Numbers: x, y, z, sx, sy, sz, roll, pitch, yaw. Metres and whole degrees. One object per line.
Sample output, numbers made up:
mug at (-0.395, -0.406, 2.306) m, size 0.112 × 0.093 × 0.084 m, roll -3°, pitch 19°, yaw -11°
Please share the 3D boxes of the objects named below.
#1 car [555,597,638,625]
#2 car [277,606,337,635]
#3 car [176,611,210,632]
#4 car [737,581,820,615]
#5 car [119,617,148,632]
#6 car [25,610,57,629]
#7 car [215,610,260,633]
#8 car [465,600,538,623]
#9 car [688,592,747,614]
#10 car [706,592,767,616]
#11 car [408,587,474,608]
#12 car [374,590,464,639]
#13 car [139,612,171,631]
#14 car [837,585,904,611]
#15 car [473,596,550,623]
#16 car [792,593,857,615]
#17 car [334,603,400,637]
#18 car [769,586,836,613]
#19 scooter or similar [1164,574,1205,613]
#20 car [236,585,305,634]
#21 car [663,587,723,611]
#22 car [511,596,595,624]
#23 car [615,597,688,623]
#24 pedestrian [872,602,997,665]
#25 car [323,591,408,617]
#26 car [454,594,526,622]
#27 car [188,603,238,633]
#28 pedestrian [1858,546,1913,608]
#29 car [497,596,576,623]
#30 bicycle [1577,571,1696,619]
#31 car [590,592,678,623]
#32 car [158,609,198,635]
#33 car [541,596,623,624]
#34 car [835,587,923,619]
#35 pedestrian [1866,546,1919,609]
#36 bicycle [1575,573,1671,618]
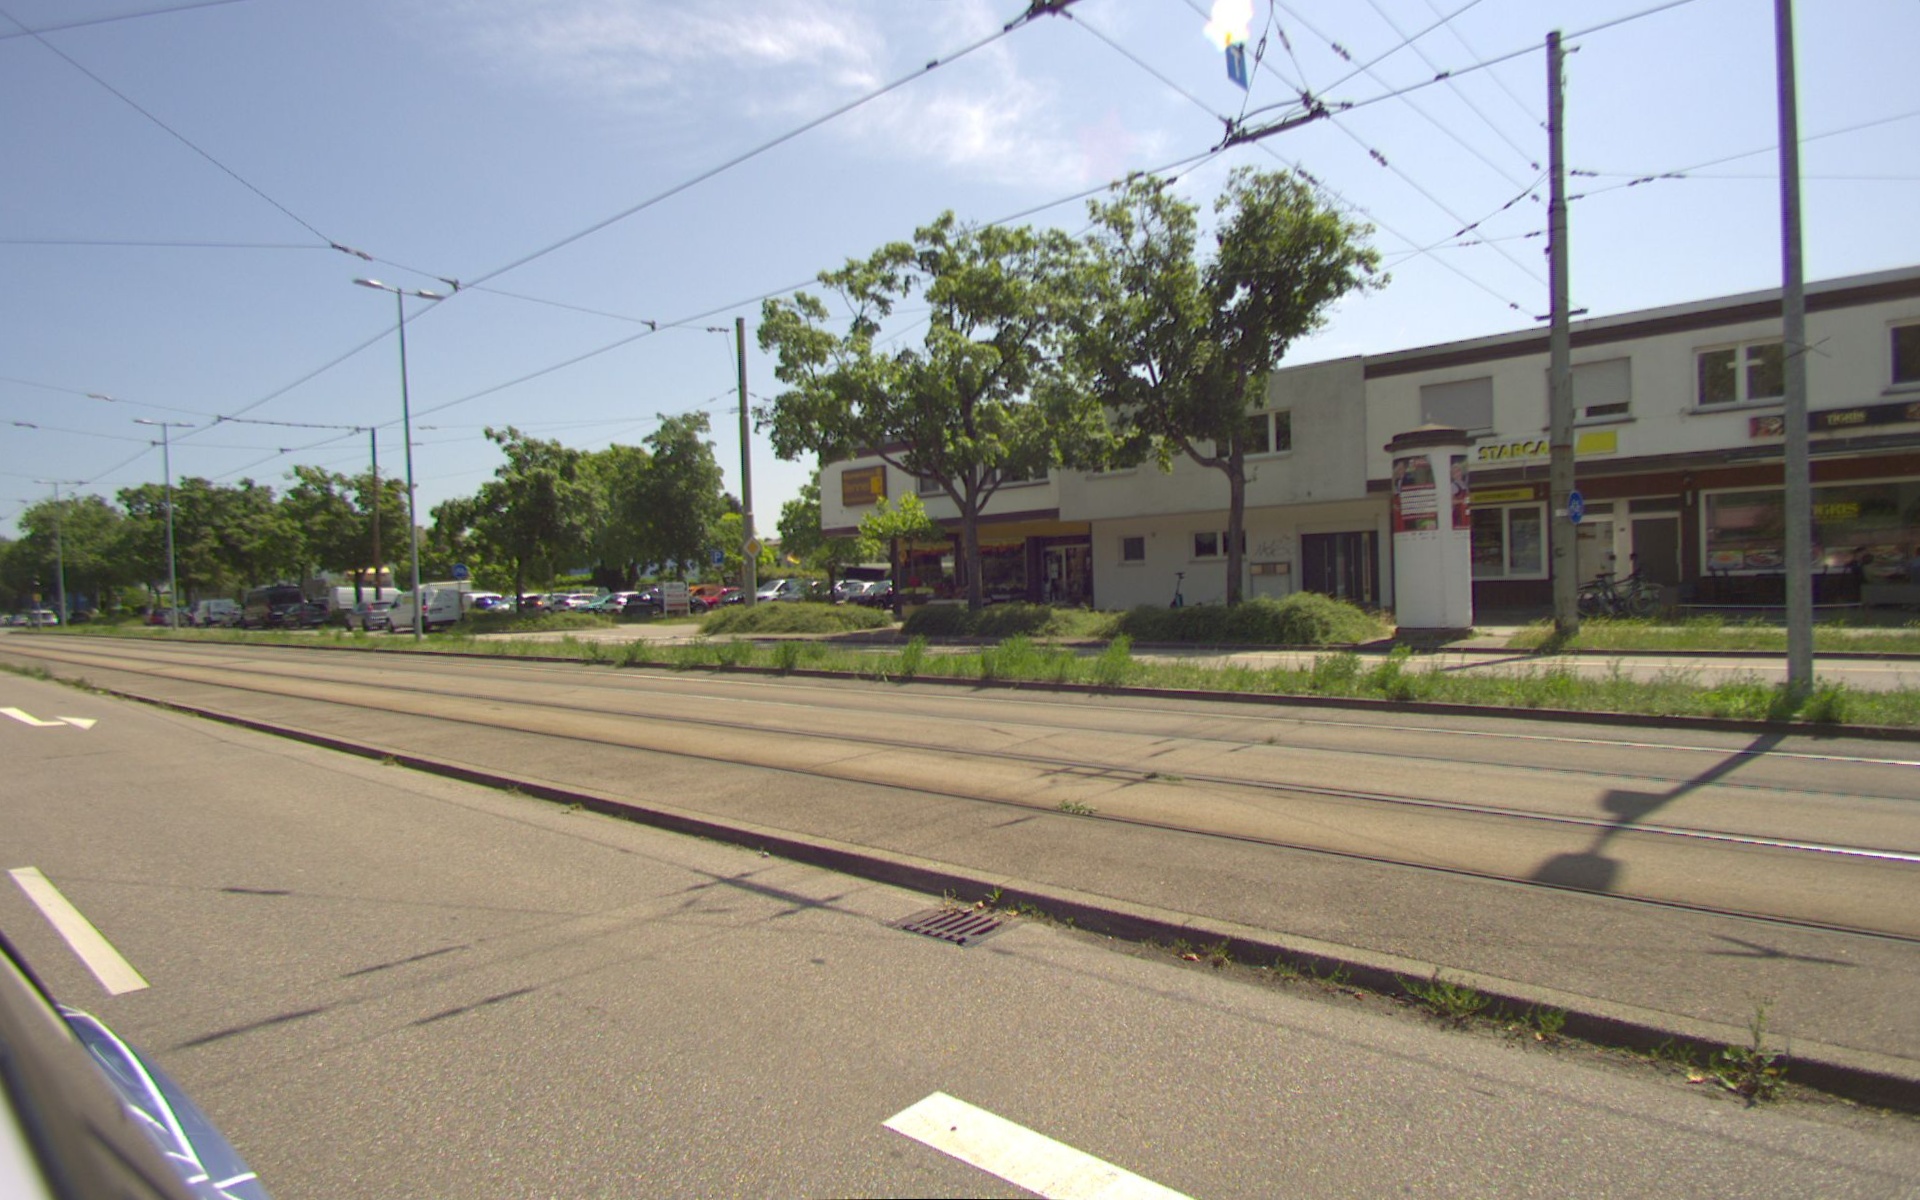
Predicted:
car at (-20.155, 0.580, 56.194) m, size 1.908 × 1.501 × 3.995 m, roll 0°, pitch 0°, yaw 34°
car at (-37.295, 1.131, 57.744) m, size 3.751 × 1.589 × 1.950 m, roll 0°, pitch 0°, yaw 42°
car at (-56.700, 1.539, 74.803) m, size 3.261 × 1.489 × 1.411 m, roll 0°, pitch 0°, yaw 41°
car at (-11.777, -0.151, 65.893) m, size 2.225 × 2.085 × 5.055 m, roll 0°, pitch 0°, yaw 41°
car at (-73.897, 2.179, 90.421) m, size 3.423 × 1.167 × 1.561 m, roll 0°, pitch 0°, yaw 43°
car at (-84.310, 1.778, 92.834) m, size 4.569 × 1.622 × 1.705 m, roll 0°, pitch 0°, yaw 42°
car at (-48.059, 1.390, 67.326) m, size 3.608 × 1.475 × 1.744 m, roll 0°, pitch 0°, yaw 42°
car at (-29.501, 0.714, 65.198) m, size 1.794 × 1.417 × 3.950 m, roll -1°, pitch 0°, yaw 37°
car at (-17.095, 0.207, 71.575) m, size 1.712 × 1.505 × 3.953 m, roll 0°, pitch 0°, yaw 35°
car at (-15.316, 0.258, 69.529) m, size 1.683 × 1.597 × 3.948 m, roll 0°, pitch 0°, yaw 39°
car at (-52.670, -0.252, 102.809) m, size 2.145 × 2.078 × 5.674 m, roll 0°, pitch 0°, yaw 38°
car at (-25.233, 0.681, 47.114) m, size 5.342 × 2.025 × 1.856 m, roll -1°, pitch 4°, yaw 42°
car at (-65.261, 1.709, 82.025) m, size 3.423 × 1.491 × 1.561 m, roll 0°, pitch 0°, yaw 43°
car at (-5.374, -0.129, 61.108) m, size 1.661 × 1.531 × 3.943 m, roll 0°, pitch 0°, yaw 43°
car at (-27.823, 0.595, 62.906) m, size 1.862 × 1.499 × 3.955 m, roll -1°, pitch 1°, yaw 34°
car at (-8.273, 0.217, 62.091) m, size 1.764 × 1.294 × 3.675 m, roll 0°, pitch 0°, yaw 43°
car at (-30.116, 0.998, 51.356) m, size 4.124 × 1.513 × 1.633 m, roll -1°, pitch 4°, yaw 42°
car at (-9.997, -0.035, 64.244) m, size 1.804 × 1.669 × 3.943 m, roll 0°, pitch 0°, yaw 43°
scooter or similar at (6.957, -0.203, 31.409) m, size 0.448 × 1.200 × 1.349 m, roll -1°, pitch 0°, yaw -29°
car at (-42.169, 0.538, 61.848) m, size 5.666 × 2.859 × 2.214 m, roll 0°, pitch 0°, yaw 42°
car at (-19.141, -0.093, 72.692) m, size 1.689 × 1.665 × 4.082 m, roll -1°, pitch 0°, yaw 35°
car at (-23.837, 0.557, 59.377) m, size 2.018 × 1.501 × 4.117 m, roll -1°, pitch 1°, yaw 34°
car at (-16.090, 0.524, 52.872) m, size 1.639 × 1.241 × 3.385 m, roll -1°, pitch 1°, yaw 34°
pedestrian at (-0.913, 1.086, 34.829) m, size 3.997 × 2.029 × 1.973 m, roll 0°, pitch 0°, yaw 40°
car at (-46.368, 0.285, 79.006) m, size 2.029 × 1.970 × 5.363 m, roll 0°, pitch 0°, yaw 42°
car at (-31.231, 0.517, 67.274) m, size 1.794 × 1.730 × 3.951 m, roll -1°, pitch 1°, yaw 37°
car at (-52.510, 1.239, 71.125) m, size 4.816 × 1.963 × 1.899 m, roll 0°, pitch 0°, yaw 42°
pedestrian at (19.669, -0.474, 21.525) m, size 0.842 × 1.278 × 0.583 m, roll 0°, pitch 0°, yaw 41°
car at (-25.710, 0.572, 61.547) m, size 1.827 × 1.501 × 4.030 m, roll -1°, pitch 1°, yaw 34°
bicycle at (14.239, -0.098, 21.353) m, size 2.028 × 0.986 × 0.604 m, roll 0°, pitch 0°, yaw 41°
car at (-17.661, 0.407, 54.999) m, size 1.983 × 1.501 × 4.120 m, roll -1°, pitch 1°, yaw 39°
car at (-60.197, 1.681, 77.872) m, size 4.495 × 1.907 × 1.614 m, roll 0°, pitch 0°, yaw 41°
car at (-21.686, 0.556, 58.190) m, size 1.855 × 1.501 × 4.099 m, roll 0°, pitch 0°, yaw 34°
car at (-3.712, 0.118, 46.846) m, size 1.682 × 1.306 × 3.944 m, roll -2°, pitch 1°, yaw 42°
pedestrian at (19.268, -0.450, 20.870) m, size 0.842 × 1.278 × 0.583 m, roll 0°, pitch 0°, yaw 41°
bicycle at (14.823, -0.097, 22.655) m, size 1.758 × 0.986 × 0.533 m, roll 0°, pitch 0°, yaw 41°
